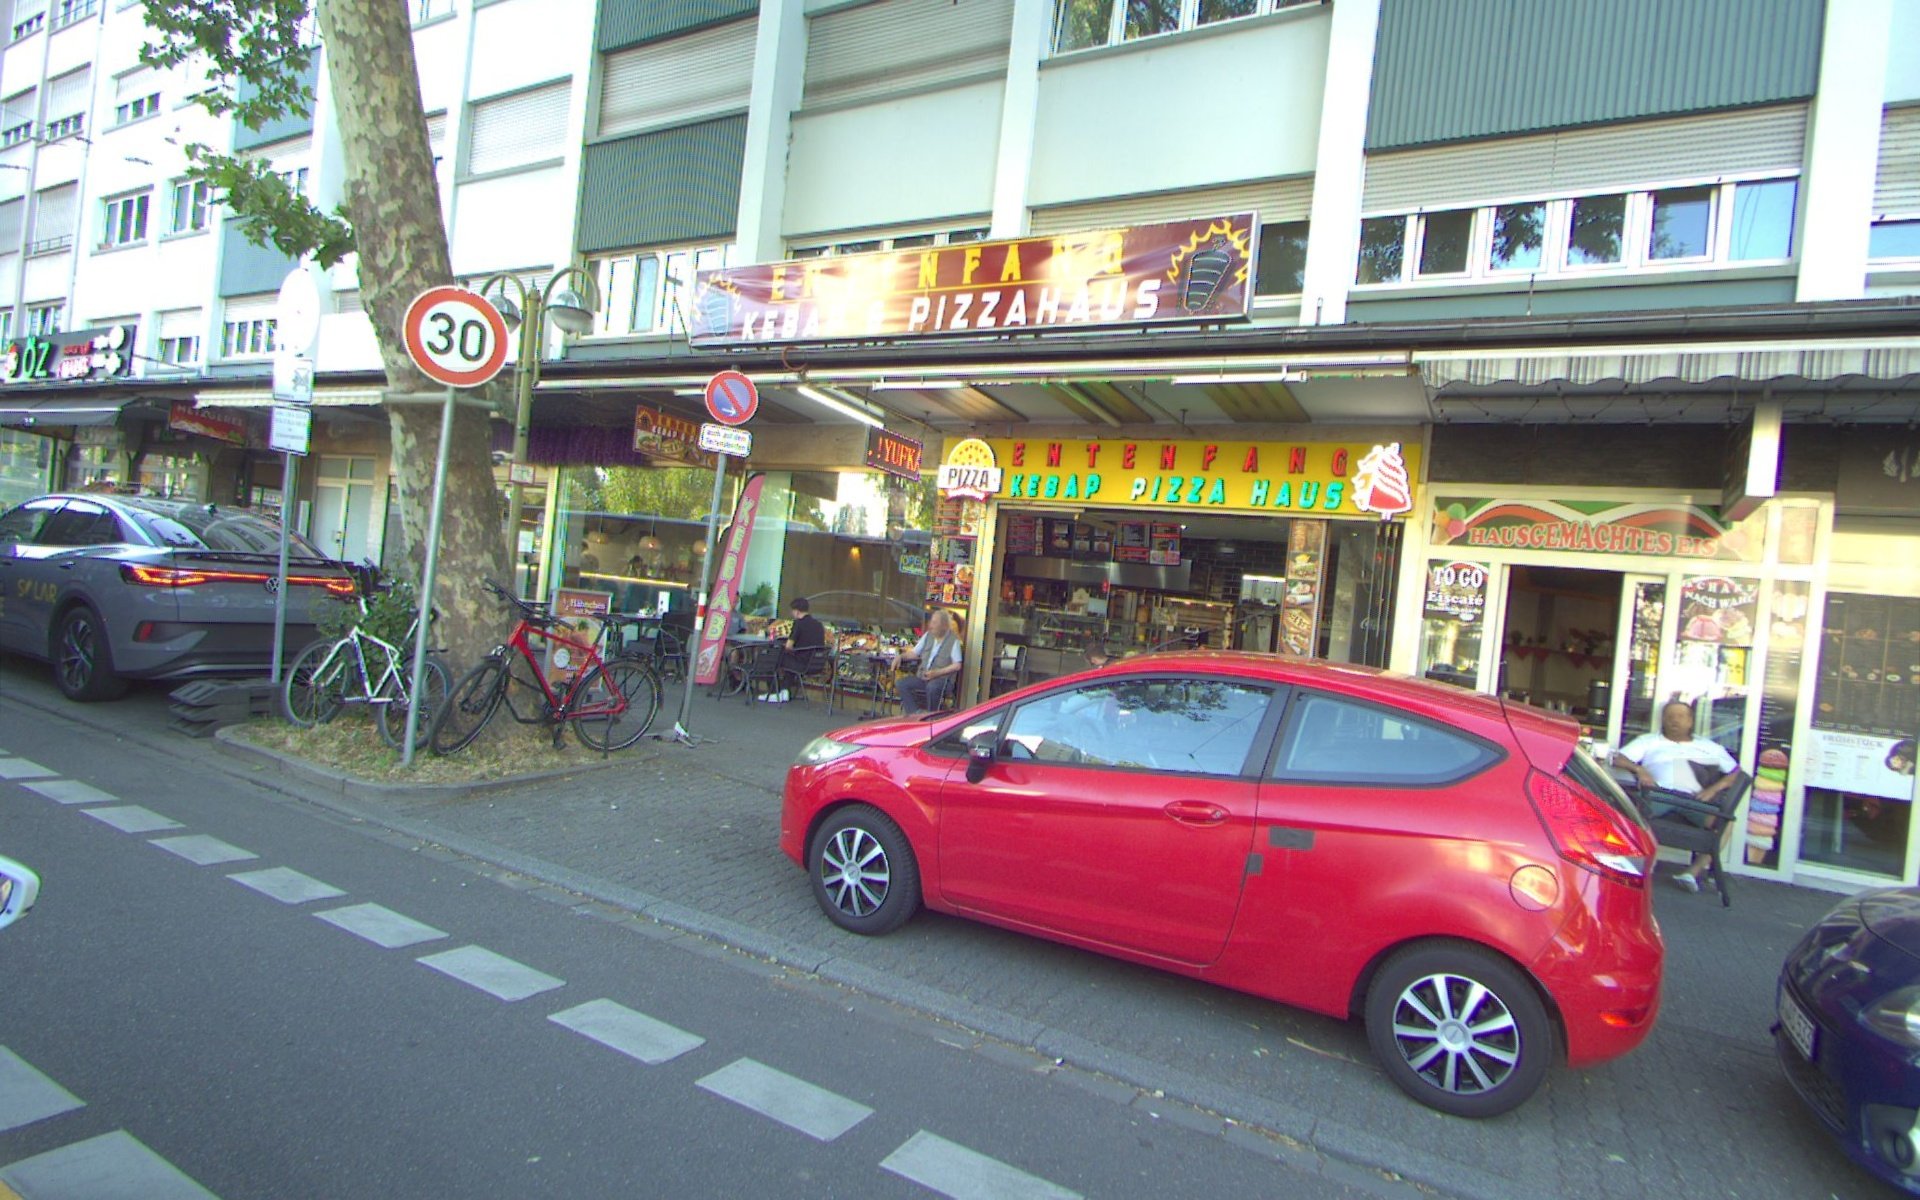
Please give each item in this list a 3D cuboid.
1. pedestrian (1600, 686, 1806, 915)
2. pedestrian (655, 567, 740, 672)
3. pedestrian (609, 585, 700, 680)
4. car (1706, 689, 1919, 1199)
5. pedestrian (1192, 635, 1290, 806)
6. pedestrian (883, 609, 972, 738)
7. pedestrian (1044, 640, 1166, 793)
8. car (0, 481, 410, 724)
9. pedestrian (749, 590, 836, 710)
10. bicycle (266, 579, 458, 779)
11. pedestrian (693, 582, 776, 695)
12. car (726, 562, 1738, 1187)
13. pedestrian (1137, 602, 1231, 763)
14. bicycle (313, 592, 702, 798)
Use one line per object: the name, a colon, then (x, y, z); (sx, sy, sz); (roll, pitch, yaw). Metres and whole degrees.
pedestrian: (5.228, 1.349, 7.173); (0.937, 1.352, 1.069); (7, 0, 30)
pedestrian: (-3.718, 0.267, 14.331); (0.958, 1.350, 0.830); (6, 0, -9)
pedestrian: (-3.942, 0.411, 13.027); (0.940, 1.094, 0.639); (7, 0, -9)
car: (4.398, 1.273, 2.655); (3.549, 1.488, 1.767); (6, 3, 29)
pedestrian: (2.779, 1.167, 9.927); (0.589, 1.560, 0.700); (7, 0, 34)
pedestrian: (-0.335, 0.762, 10.603); (0.550, 1.252, 0.689); (7, 2, 29)
pedestrian: (1.317, 1.023, 9.104); (0.798, 1.225, 0.654); (7, 2, 28)
car: (-7.304, -0.110, 9.049); (4.292, 1.603, 1.996); (7, 2, 27)
pedestrian: (-1.904, 0.560, 11.444); (0.679, 1.261, 0.558); (7, 2, 33)
bicycle: (-4.198, 0.513, 7.027); (1.421, 1.169, 0.553); (6, 0, 36)
pedestrian: (-2.703, 0.459, 12.046); (0.680, 1.261, 0.557); (7, 2, 38)
car: (1.002, 0.819, 4.701); (3.757, 1.617, 1.783); (6, 3, 28)
pedestrian: (2.346, 0.857, 10.513); (0.589, 1.566, 0.700); (7, 0, 34)
bicycle: (-2.977, 0.566, 6.888); (0.547, 1.171, 2.377); (7, 4, 44)
